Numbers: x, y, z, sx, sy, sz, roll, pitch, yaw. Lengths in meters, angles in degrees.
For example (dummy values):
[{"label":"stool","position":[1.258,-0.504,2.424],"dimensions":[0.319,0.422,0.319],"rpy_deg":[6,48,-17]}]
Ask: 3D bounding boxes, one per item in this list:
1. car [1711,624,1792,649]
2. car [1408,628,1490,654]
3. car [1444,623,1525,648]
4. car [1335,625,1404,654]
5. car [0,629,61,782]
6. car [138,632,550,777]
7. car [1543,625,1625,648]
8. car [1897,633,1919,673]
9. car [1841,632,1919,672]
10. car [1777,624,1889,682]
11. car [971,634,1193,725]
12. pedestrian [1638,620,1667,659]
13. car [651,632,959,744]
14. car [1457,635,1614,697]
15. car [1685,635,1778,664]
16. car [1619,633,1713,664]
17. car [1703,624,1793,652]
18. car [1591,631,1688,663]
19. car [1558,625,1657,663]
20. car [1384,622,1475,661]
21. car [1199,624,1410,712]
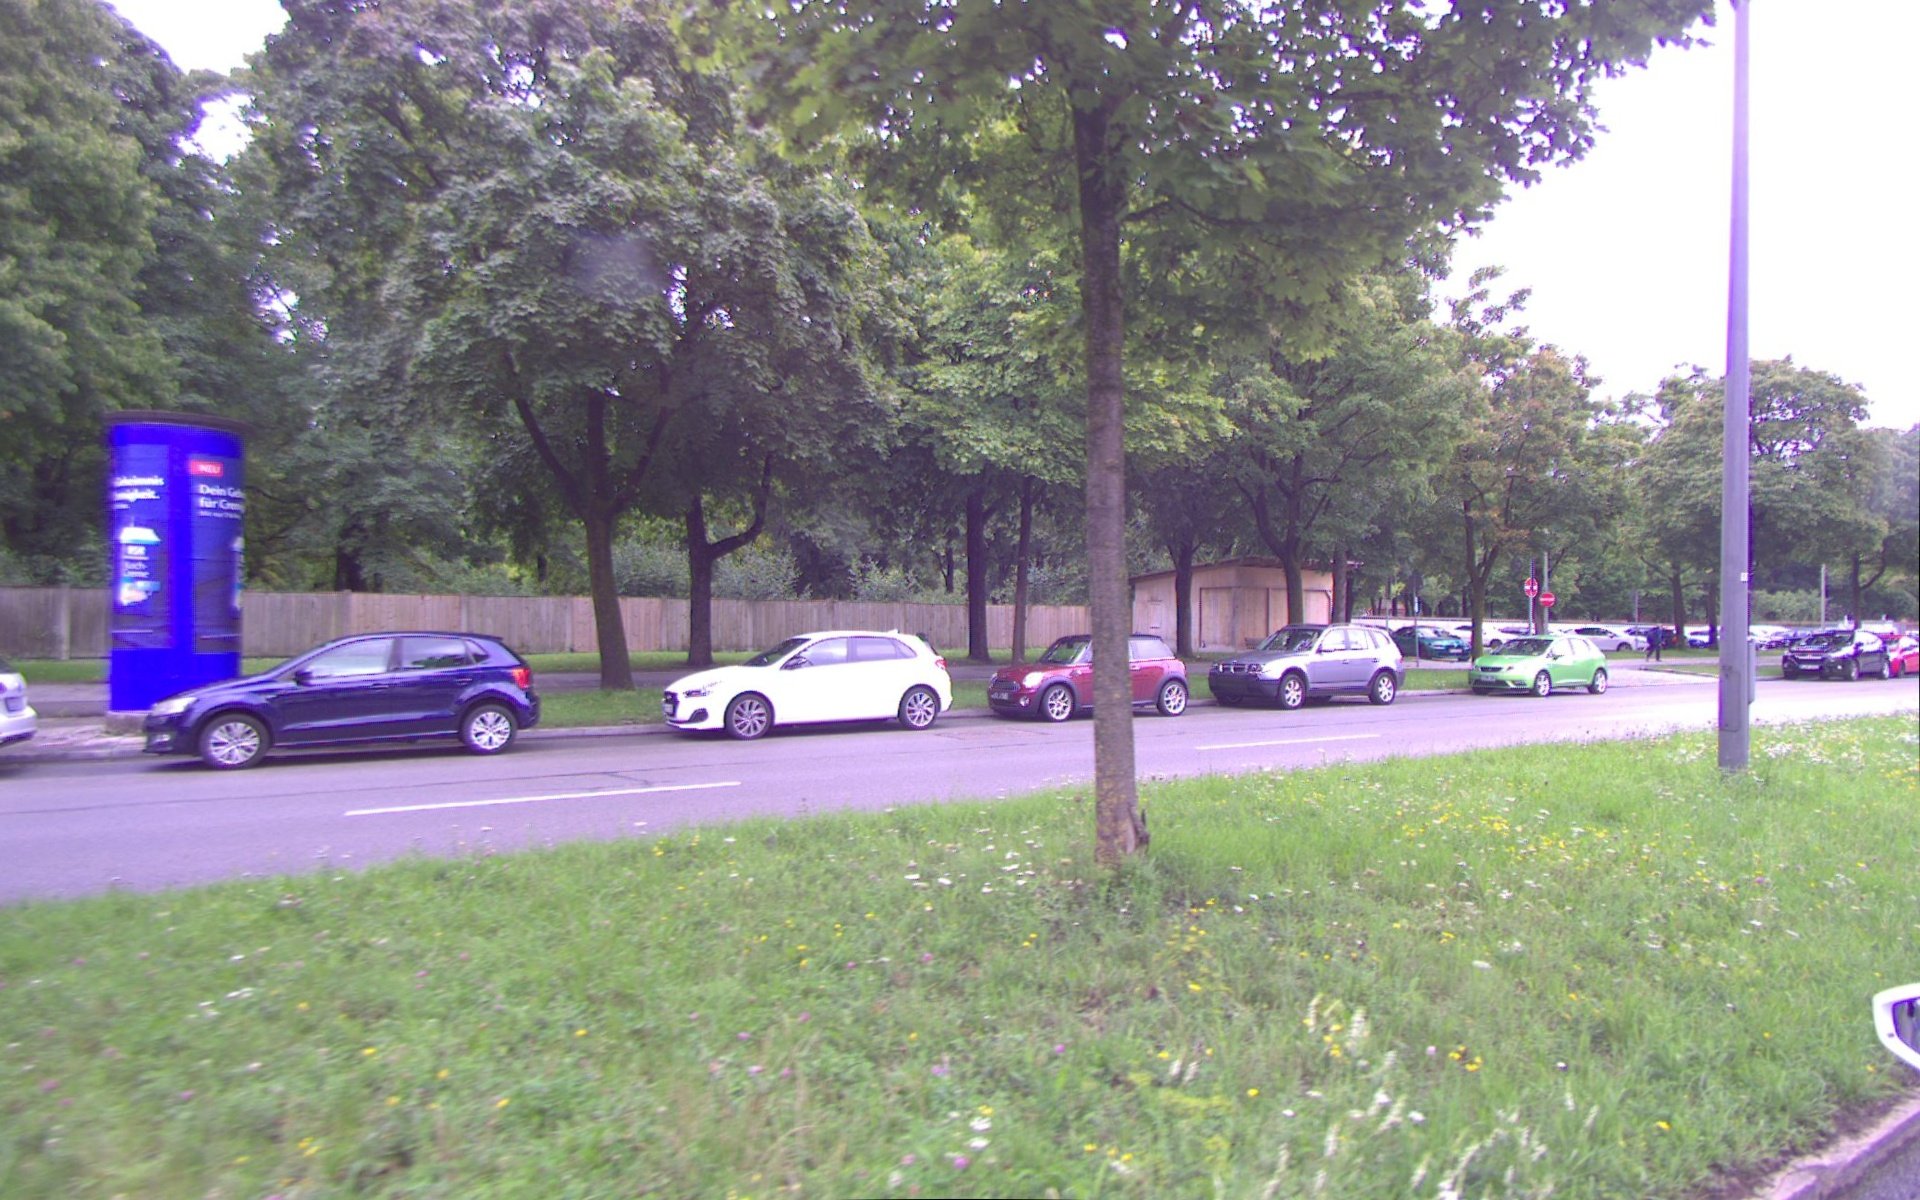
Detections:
[{"label":"car","position":[52.007,2.378,66.068],"dimensions":[1.656,1.465,3.841],"rpy_deg":[1,0,-35]},{"label":"car","position":[31.532,2.605,64.917],"dimensions":[1.652,1.465,4.672],"rpy_deg":[1,0,-28]},{"label":"car","position":[34.181,2.299,65.559],"dimensions":[1.652,1.496,4.486],"rpy_deg":[2,-1,-29]},{"label":"car","position":[19.706,1.896,48.476],"dimensions":[1.639,1.217,4.421],"rpy_deg":[2,-1,2]},{"label":"car","position":[-11.529,1.008,9.291],"dimensions":[4.481,1.468,1.754],"rpy_deg":[1,-2,-31]},{"label":"car","position":[-6.983,1.106,11.739],"dimensions":[3.855,1.436,1.604],"rpy_deg":[1,-3,-33]},{"label":"car","position":[43.666,2.551,70.439],"dimensions":[1.652,1.465,4.670],"rpy_deg":[1,0,-29]},{"label":"car","position":[37.528,2.021,38.312],"dimensions":[3.835,1.465,1.659],"rpy_deg":[2,0,-31]},{"label":"car","position":[33.346,1.848,36.129],"dimensions":[3.342,1.329,1.582],"rpy_deg":[2,0,-31]},{"label":"car","position":[28.976,1.724,33.337],"dimensions":[3.835,1.764,1.708],"rpy_deg":[2,0,-31]},{"label":"car","position":[2.136,1.314,17.430],"dimensions":[3.585,1.415,1.584],"rpy_deg":[1,-2,-29]},{"label":"pedestrian","position":[28.753,1.632,41.725],"dimensions":[0.712,1.554,0.724],"rpy_deg":[1,0,-29]},{"label":"car","position":[-2.233,1.207,14.840],"dimensions":[4.229,1.463,1.600],"rpy_deg":[1,-2,-30]},{"label":"car","position":[14.112,1.572,24.595],"dimensions":[3.830,1.428,1.542],"rpy_deg":[1,-2,-28]},{"label":"car","position":[43.549,2.778,56.785],"dimensions":[1.656,1.465,3.841],"rpy_deg":[1,0,-35]},{"label":"car","position":[38.300,2.614,54.590],"dimensions":[1.656,1.465,3.841],"rpy_deg":[1,0,-35]},{"label":"car","position":[46.036,2.218,58.772],"dimensions":[1.656,1.465,3.841],"rpy_deg":[1,0,-35]},{"label":"car","position":[35.176,2.385,52.095],"dimensions":[1.656,1.465,3.841],"rpy_deg":[1,0,-35]},{"label":"car","position":[32.688,2.178,50.805],"dimensions":[1.656,1.740,3.893],"rpy_deg":[1,0,-35]},{"label":"car","position":[19.927,1.723,42.885],"dimensions":[1.922,1.465,4.421],"rpy_deg":[2,0,2]},{"label":"car","position":[7.036,1.319,20.384],"dimensions":[4.321,1.607,1.682],"rpy_deg":[1,-2,-31]}]
